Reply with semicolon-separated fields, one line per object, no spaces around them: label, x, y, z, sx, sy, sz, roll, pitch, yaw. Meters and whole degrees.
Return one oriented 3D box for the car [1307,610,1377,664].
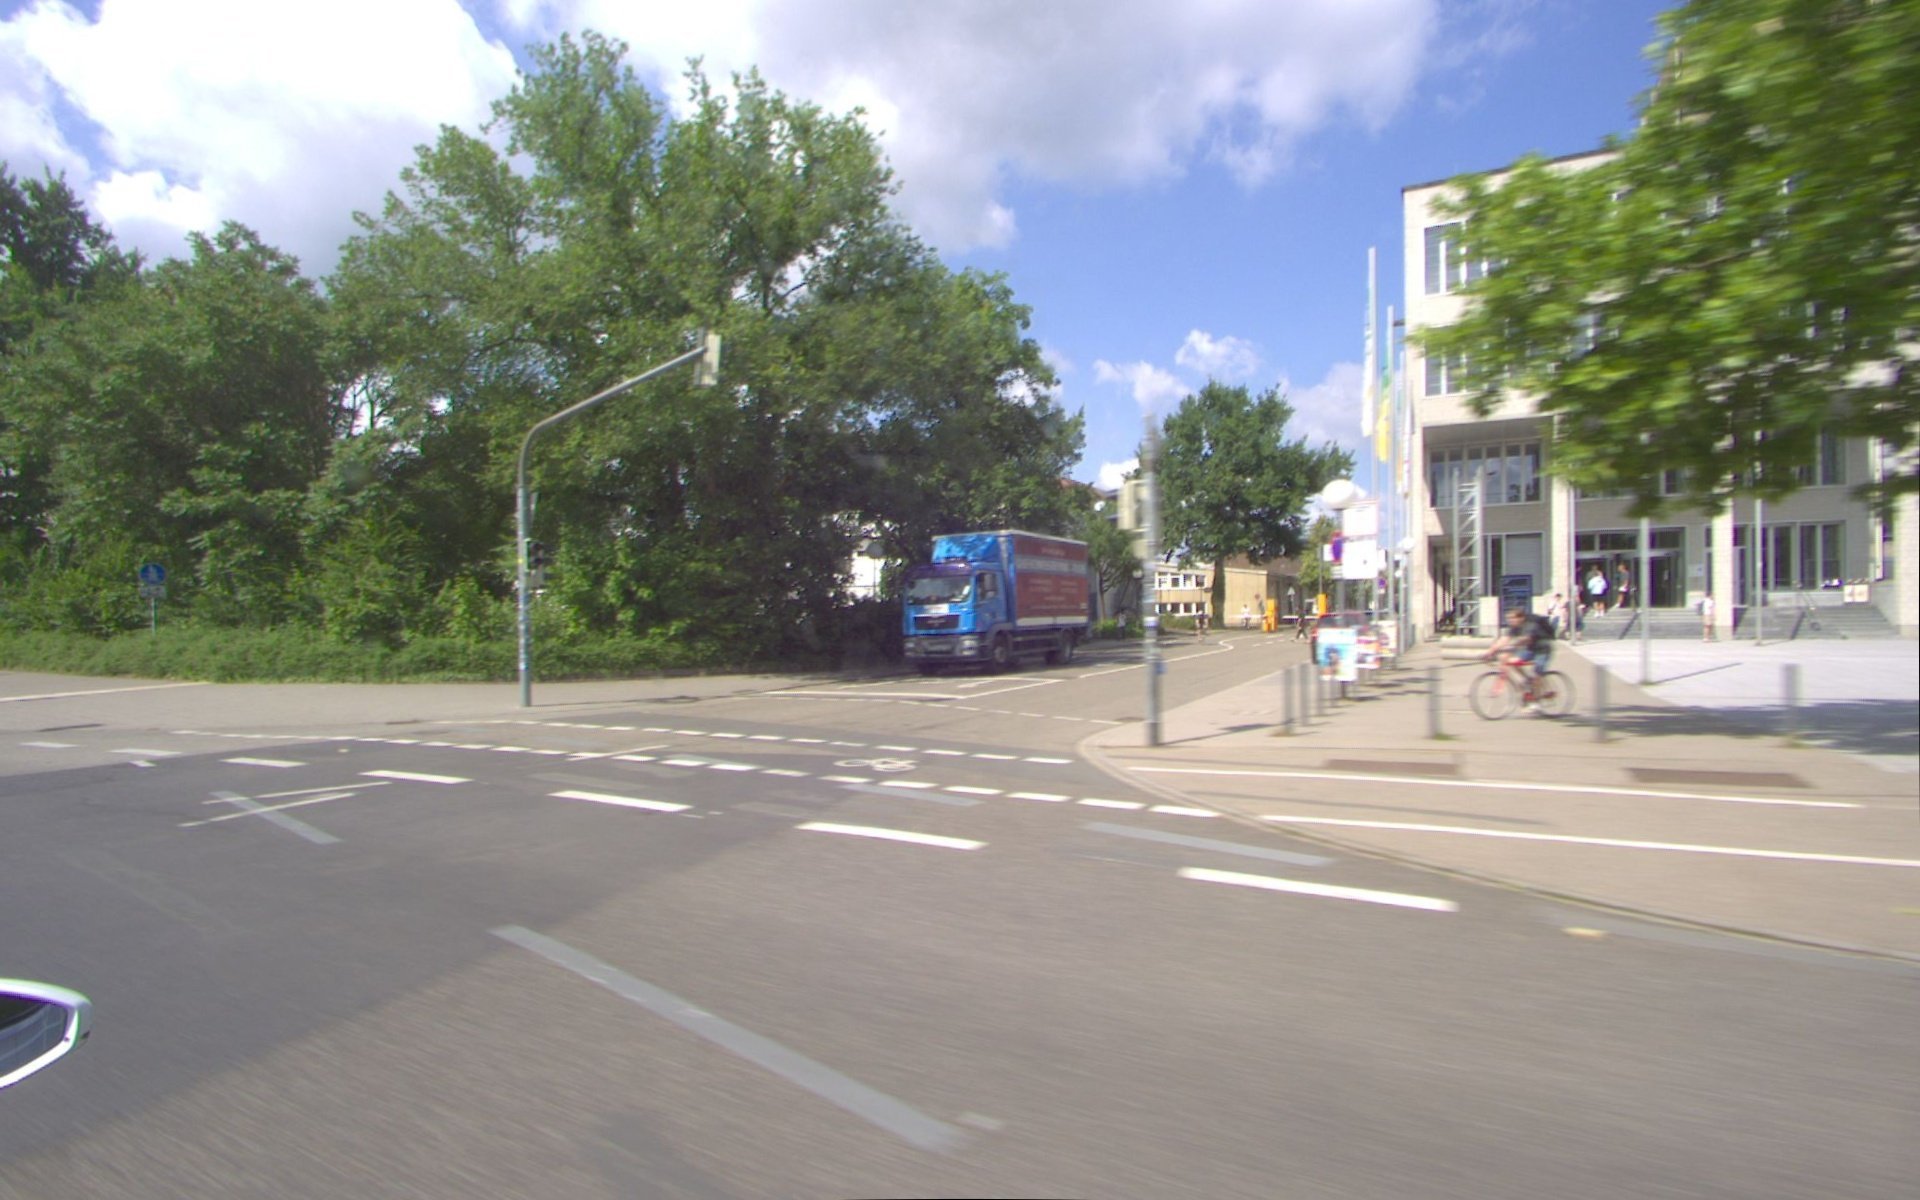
car;11.742;1.097;30.612;1.694;1.498;3.987;-3;-2;25

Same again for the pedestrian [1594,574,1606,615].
pedestrian;26.252;-0.222;41.075;0.380;1.670;0.402;0;0;32

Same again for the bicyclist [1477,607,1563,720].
bicyclist;7.874;0.874;14.088;0.903;1.527;0.611;-1;0;-19

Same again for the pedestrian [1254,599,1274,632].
pedestrian;19.236;0.998;63.398;1.044;2.040;0.821;-1;0;30

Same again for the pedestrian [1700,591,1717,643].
pedestrian;26.892;0.615;35.978;0.479;1.831;0.438;0;0;38

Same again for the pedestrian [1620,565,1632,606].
pedestrian;27.337;-0.588;41.101;0.398;1.670;0.384;0;0;29

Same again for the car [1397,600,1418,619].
car;44.404;0.947;99.320;1.635;1.794;3.986;-1;-2;28

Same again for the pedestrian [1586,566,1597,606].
pedestrian;26.741;-0.581;42.391;0.380;1.670;0.403;0;0;29

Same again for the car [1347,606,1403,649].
car;16.667;1.059;40.114;1.757;1.634;3.984;-1;-1;28

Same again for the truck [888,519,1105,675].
truck;1.537;-0.045;30.477;2.735;3.932;10.106;-2;-1;25

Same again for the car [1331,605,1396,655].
car;14.160;1.006;35.026;1.757;1.634;3.984;-1;-1;28

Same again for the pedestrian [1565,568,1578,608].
pedestrian;25.675;-0.502;42.038;0.399;1.670;0.383;0;0;38

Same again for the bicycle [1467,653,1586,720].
bicycle;7.994;1.206;14.133;1.489;0.844;0.619;-1;0;-19

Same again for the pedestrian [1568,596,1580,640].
pedestrian;23.440;0.684;38.226;0.398;1.670;0.384;0;0;31

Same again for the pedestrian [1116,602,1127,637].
pedestrian;8.595;1.054;53.313;0.477;1.846;0.537;0;0;18

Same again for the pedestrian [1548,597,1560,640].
pedestrian;23.354;0.725;39.360;0.398;1.670;0.384;0;0;31

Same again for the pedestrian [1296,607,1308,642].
pedestrian;15.716;1.123;46.042;0.472;1.577;0.373;-1;0;21
